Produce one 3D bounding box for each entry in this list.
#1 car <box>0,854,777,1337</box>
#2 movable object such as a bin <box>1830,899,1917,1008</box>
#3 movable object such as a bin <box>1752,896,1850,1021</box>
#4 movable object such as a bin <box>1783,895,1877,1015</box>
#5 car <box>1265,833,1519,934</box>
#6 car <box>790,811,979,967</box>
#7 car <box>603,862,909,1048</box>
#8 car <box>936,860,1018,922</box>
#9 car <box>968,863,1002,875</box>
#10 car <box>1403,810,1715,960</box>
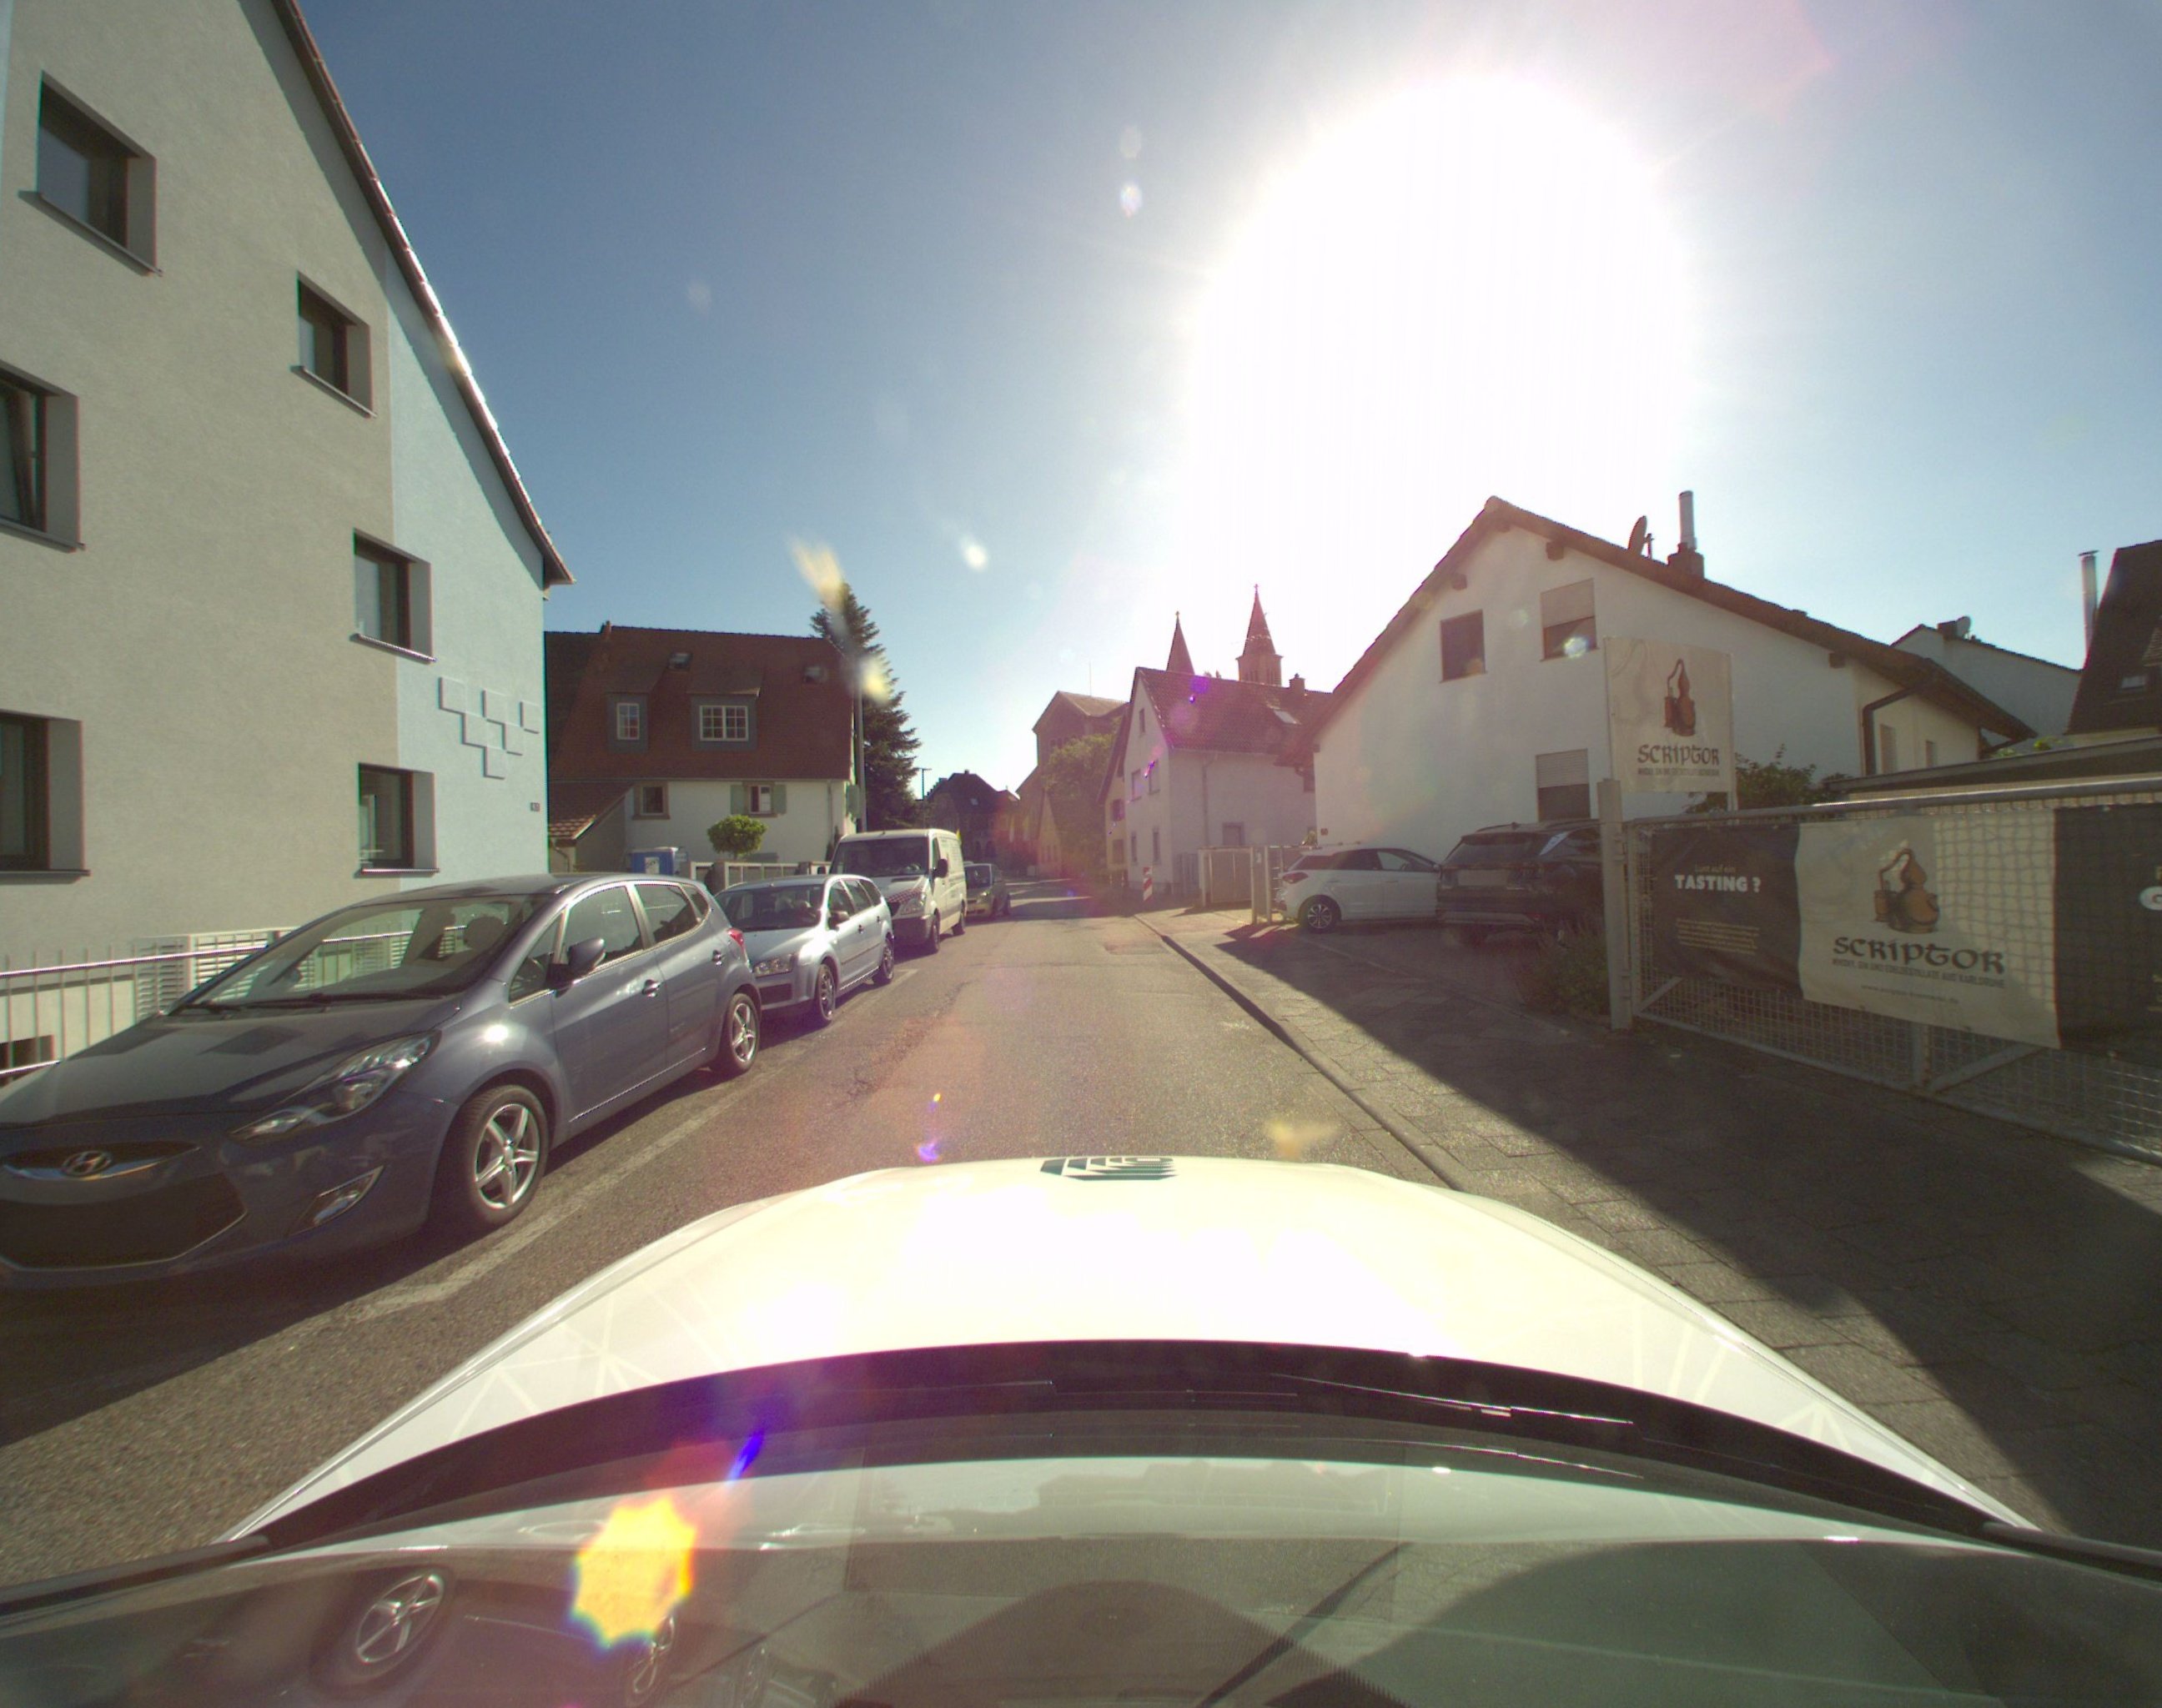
[{"bbox_3d":[-3.411,0.860,4.790,1.709,1.598,3.924,-3,0,0],"label":"car"},{"bbox_3d":[7.178,0.879,7.378,0.518,0.923,0.419,1,-2,-30],"label":"movable object such as a bin"},{"bbox_3d":[5.708,0.805,6.460,0.518,0.923,0.419,1,-2,-30],"label":"movable object such as a bin"},{"bbox_3d":[6.180,0.810,6.726,0.518,0.923,0.419,1,-2,-30],"label":"movable object such as a bin"},{"bbox_3d":[5.385,0.516,14.587,3.890,1.492,1.851,-3,-1,8],"label":"car"},{"bbox_3d":[-3.595,0.593,16.338,2.190,2.390,6.062,-4,0,0],"label":"car"},{"bbox_3d":[-3.273,0.900,9.211,1.706,1.504,4.234,-3,0,0],"label":"car"},{"bbox_3d":[-2.852,0.983,22.802,1.566,1.546,2.970,-2,0,6],"label":"car"},{"bbox_3d":[-12.892,1.954,109.668,4.270,1.401,1.697,-2,-1,-41],"label":"car"},{"bbox_3d":[6.690,0.330,11.345,4.060,1.688,1.894,-3,0,-29],"label":"car"}]
